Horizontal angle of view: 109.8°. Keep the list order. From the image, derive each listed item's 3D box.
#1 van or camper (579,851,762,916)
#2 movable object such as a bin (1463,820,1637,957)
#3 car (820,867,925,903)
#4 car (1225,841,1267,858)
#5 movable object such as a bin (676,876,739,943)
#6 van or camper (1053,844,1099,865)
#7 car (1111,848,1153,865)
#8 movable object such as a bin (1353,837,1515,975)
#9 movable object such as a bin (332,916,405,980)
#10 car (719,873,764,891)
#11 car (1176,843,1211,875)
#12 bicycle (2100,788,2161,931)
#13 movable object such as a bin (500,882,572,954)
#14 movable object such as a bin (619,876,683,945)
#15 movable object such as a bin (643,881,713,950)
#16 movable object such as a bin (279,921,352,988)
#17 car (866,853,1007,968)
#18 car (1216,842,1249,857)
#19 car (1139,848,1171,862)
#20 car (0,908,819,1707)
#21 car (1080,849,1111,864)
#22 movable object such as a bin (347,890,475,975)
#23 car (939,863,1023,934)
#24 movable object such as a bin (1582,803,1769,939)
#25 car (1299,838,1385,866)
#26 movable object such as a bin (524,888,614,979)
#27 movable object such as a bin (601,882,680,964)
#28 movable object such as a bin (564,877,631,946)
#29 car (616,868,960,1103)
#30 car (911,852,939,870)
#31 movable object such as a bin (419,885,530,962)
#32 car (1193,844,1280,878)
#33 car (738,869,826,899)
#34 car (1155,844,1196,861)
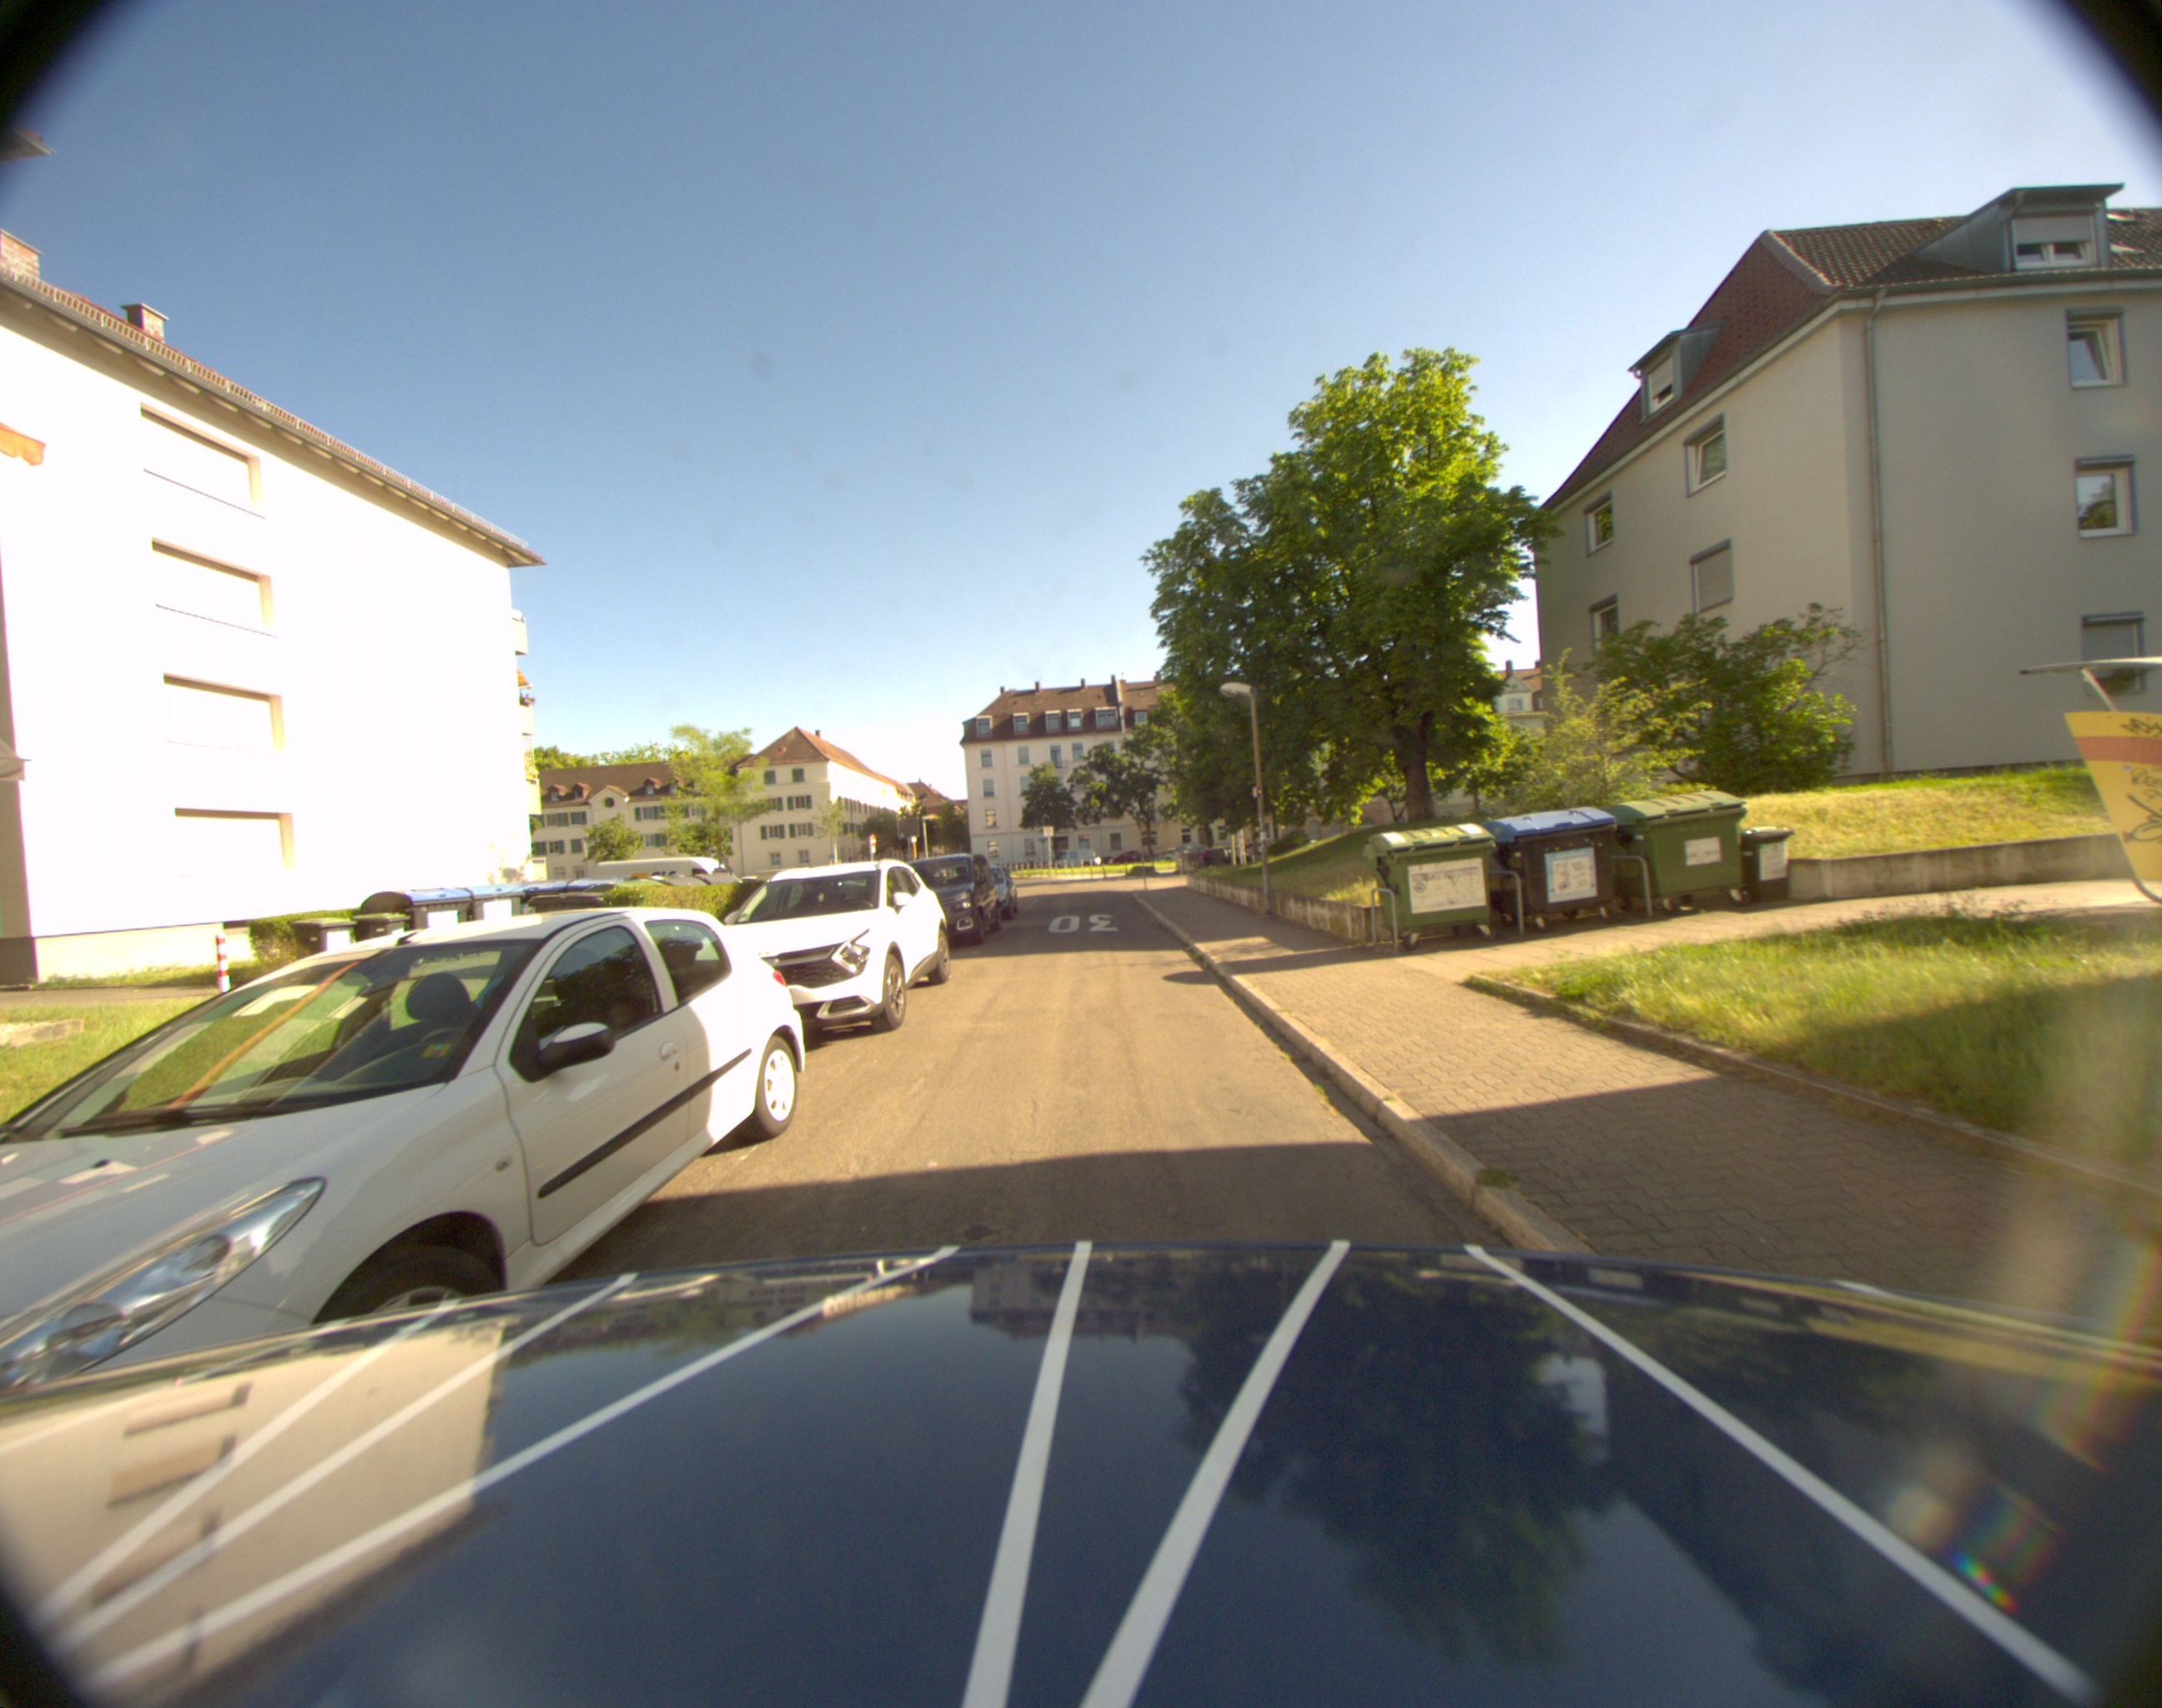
[{"bbox_3d":[-18.343,1.292,34.185,6.980,2.486,2.177,-3,1,2],"label":"van or camper"},{"bbox_3d":[5.832,0.407,9.553,1.358,1.451,1.082,-8,1,1],"label":"movable object such as a bin"},{"bbox_3d":[-8.987,1.324,32.943,3.996,1.342,1.802,-3,1,2],"label":"car"},{"bbox_3d":[16.206,-0.420,74.745,3.787,1.437,1.625,-3,1,2],"label":"car"},{"bbox_3d":[-8.330,1.220,16.990,0.921,1.390,0.866,-3,1,-1],"label":"movable object such as a bin"},{"bbox_3d":[-0.504,0.070,75.171,4.355,1.852,2.000,-3,1,-1],"label":"van or camper"},{"bbox_3d":[4.993,0.208,74.802,3.996,1.477,1.722,-3,1,2],"label":"car"},{"bbox_3d":[4.351,0.607,9.501,1.318,1.451,1.198,-8,1,1],"label":"movable object such as a bin"},{"bbox_3d":[-12.643,1.656,13.498,0.718,1.047,0.580,0,1,-2],"label":"movable object such as a bin"},{"bbox_3d":[-36.139,2.995,80.983,3.997,1.630,1.647,-3,1,0],"label":"car"},{"bbox_3d":[6.270,0.261,42.606,1.678,1.645,3.305,-3,0,5],"label":"car"},{"bbox_3d":[9.733,0.034,5.996,0.641,1.243,2.009,-4,0,1],"label":"bicycle"},{"bbox_3d":[-12.315,1.434,17.202,0.866,1.511,0.922,-3,1,-1],"label":"movable object such as a bin"},{"bbox_3d":[-9.718,1.262,17.203,0.866,1.439,0.922,-3,1,-3],"label":"movable object such as a bin"},{"bbox_3d":[-8.346,1.254,15.764,0.921,1.318,0.866,-3,1,-1],"label":"movable object such as a bin"},{"bbox_3d":[-12.872,1.671,12.786,0.628,1.047,0.580,0,1,-2],"label":"movable object such as a bin"},{"bbox_3d":[-2.737,0.979,15.415,1.855,1.790,4.253,-7,0,0],"label":"car"},{"bbox_3d":[16.047,-0.472,80.463,3.192,1.499,1.545,-3,1,0],"label":"car"},{"bbox_3d":[7.763,0.083,80.393,3.192,1.311,1.545,-3,1,0],"label":"car"},{"bbox_3d":[-2.635,1.152,2.942,1.695,1.410,4.097,-6,0,0],"label":"car"},{"bbox_3d":[1.509,0.256,80.423,3.192,1.499,1.545,-3,1,0],"label":"car"},{"bbox_3d":[-12.855,1.482,14.643,1.239,1.439,1.278,-3,1,-2],"label":"movable object such as a bin"},{"bbox_3d":[-2.660,1.141,21.039,1.728,1.528,3.951,-6,0,-1],"label":"car"},{"bbox_3d":[7.412,0.203,9.558,1.363,1.445,1.073,-8,1,1],"label":"movable object such as a bin"},{"bbox_3d":[13.494,-0.113,39.446,3.862,1.265,1.630,-3,1,1],"label":"car"},{"bbox_3d":[-8.804,1.341,13.115,0.866,1.439,0.922,-3,1,-3],"label":"movable object such as a bin"},{"bbox_3d":[-8.397,1.303,14.521,0.921,1.439,0.866,-3,1,-1],"label":"movable object such as a bin"},{"bbox_3d":[-10.831,1.275,17.063,0.866,1.439,0.922,-3,1,-3],"label":"movable object such as a bin"},{"bbox_3d":[-2.645,1.067,8.209,1.805,1.583,4.581,-5,0,0],"label":"car"},{"bbox_3d":[-13.331,0.604,64.793,1.674,1.369,3.794,-3,1,-22],"label":"car"},{"bbox_3d":[-12.765,1.437,16.051,1.239,1.439,1.278,-3,1,-2],"label":"movable object such as a bin"},{"bbox_3d":[8.008,0.352,39.430,4.140,1.488,1.729,-3,1,1],"label":"car"},{"bbox_3d":[-15.736,1.566,40.139,3.996,1.342,1.521,-3,1,2],"label":"car"},{"bbox_3d":[9.282,-0.172,74.725,3.787,1.437,1.625,-3,1,2],"label":"car"}]
